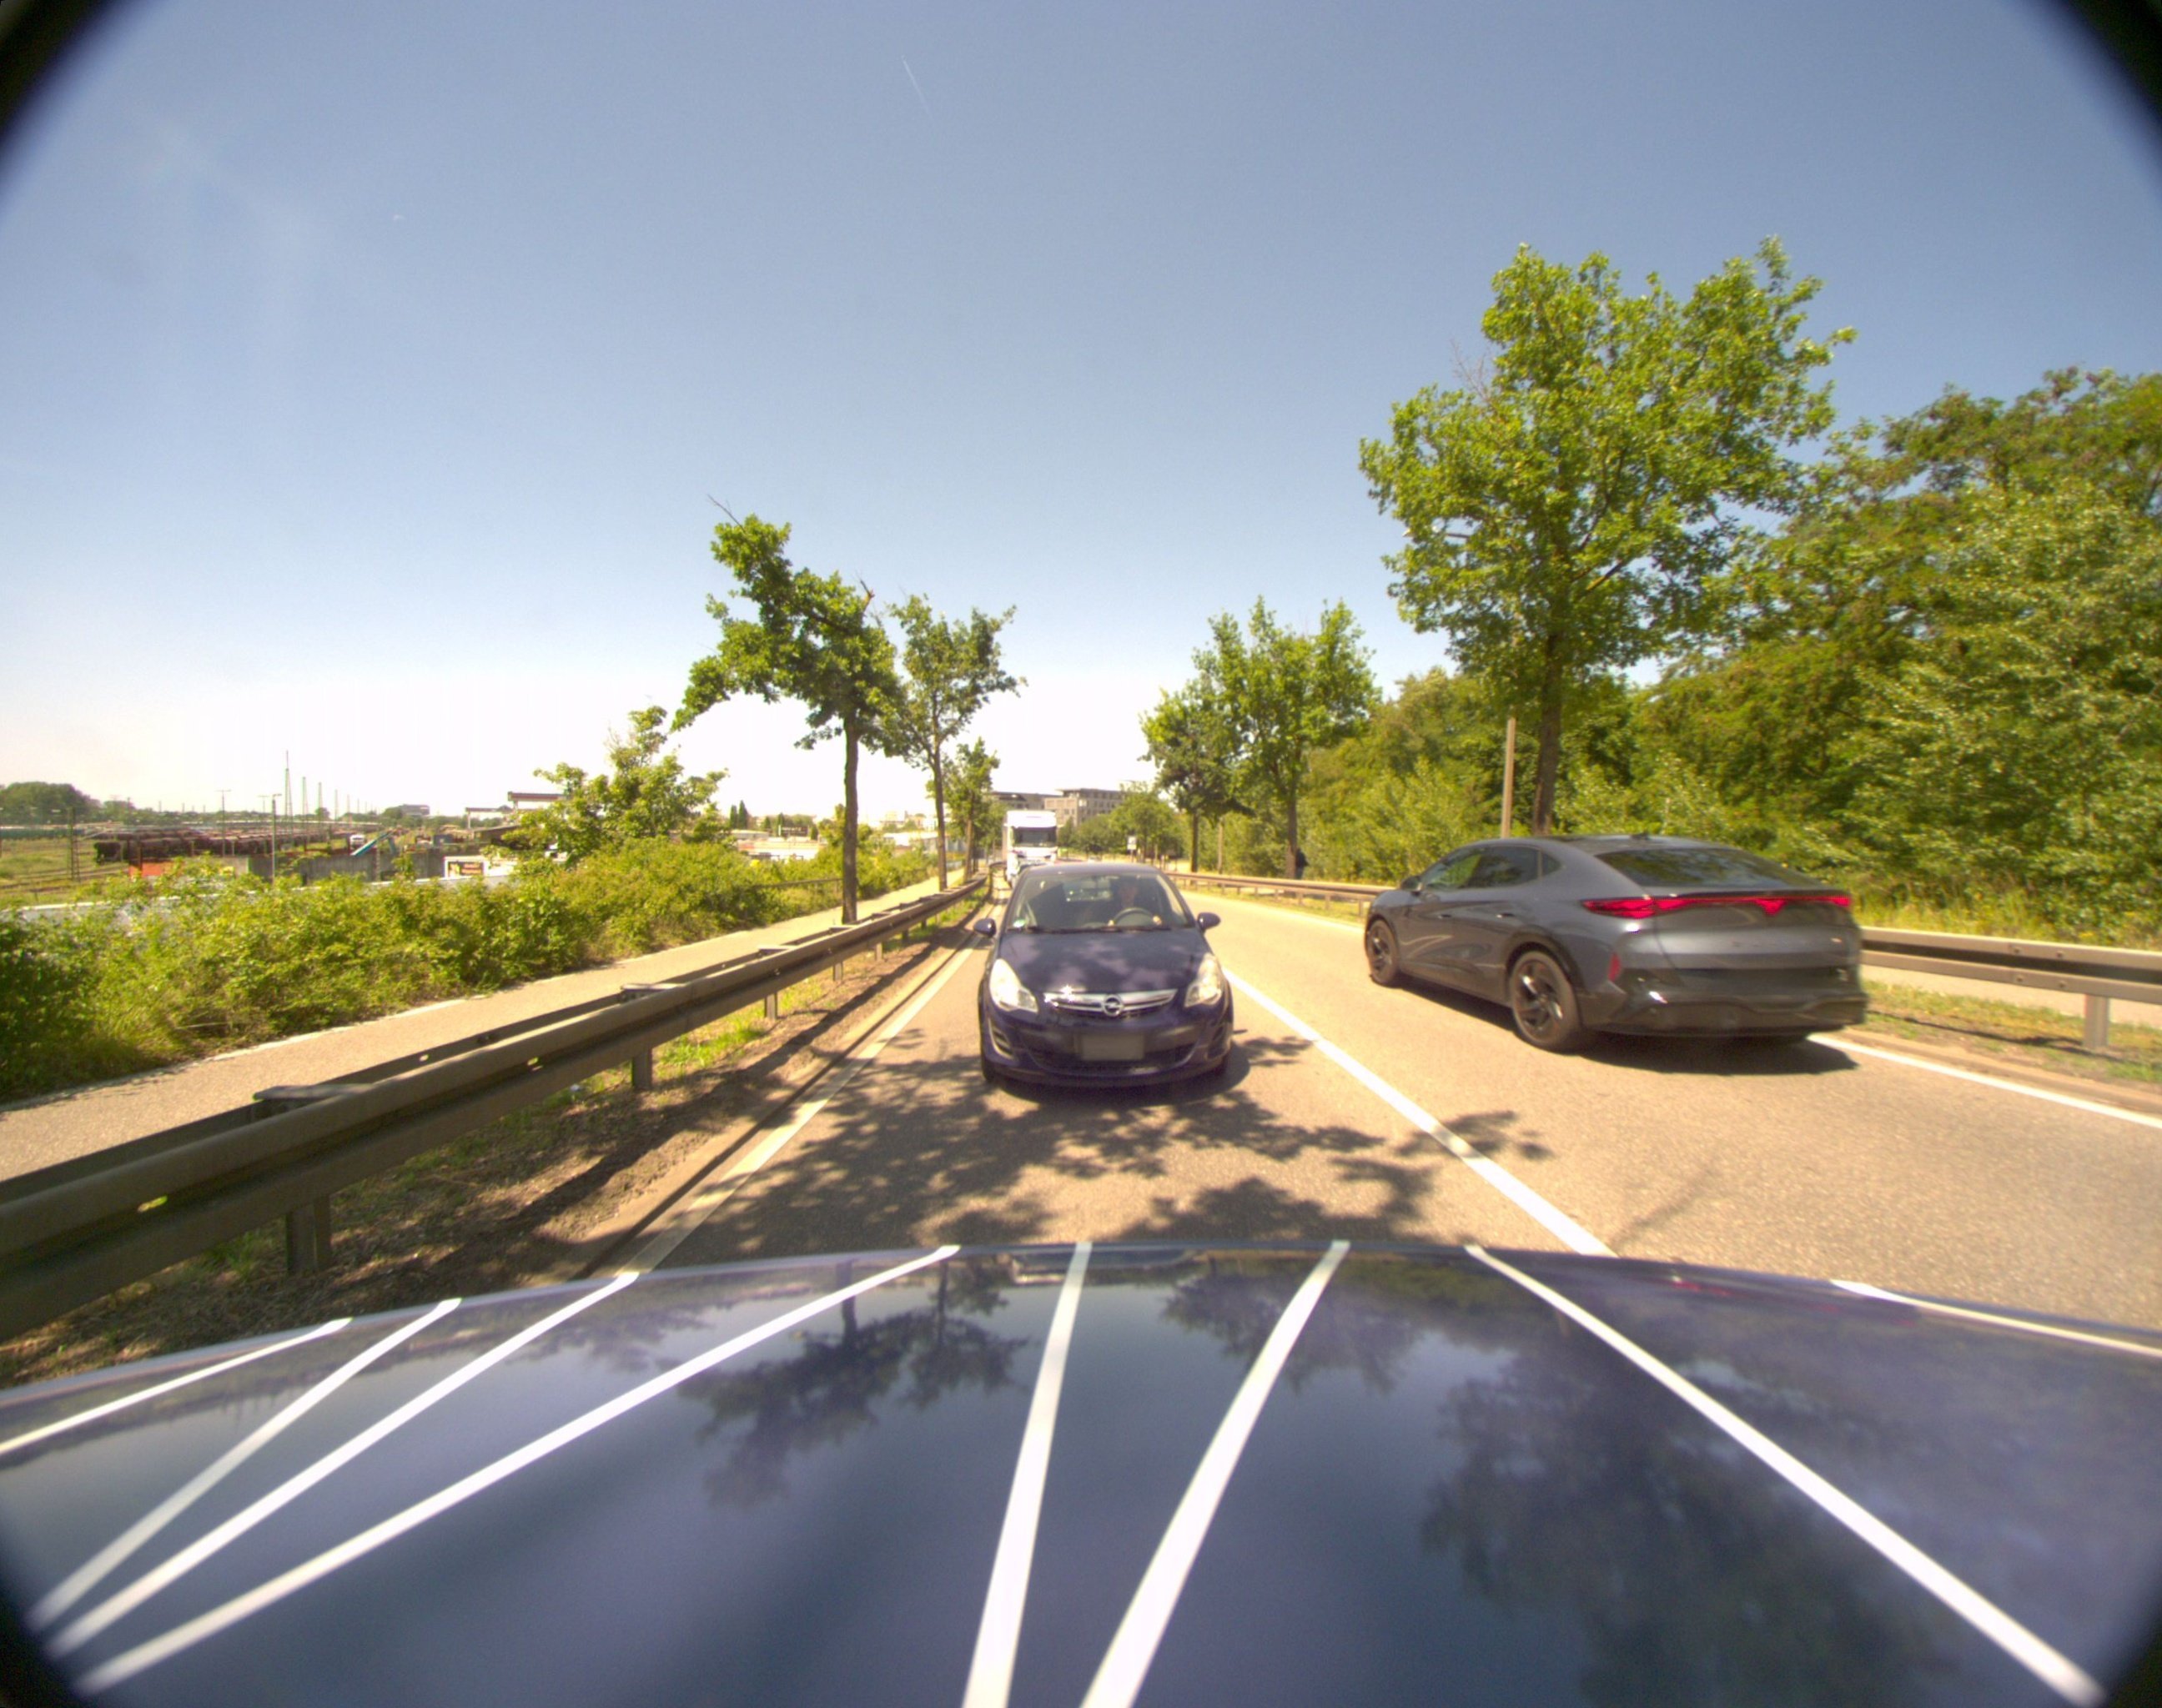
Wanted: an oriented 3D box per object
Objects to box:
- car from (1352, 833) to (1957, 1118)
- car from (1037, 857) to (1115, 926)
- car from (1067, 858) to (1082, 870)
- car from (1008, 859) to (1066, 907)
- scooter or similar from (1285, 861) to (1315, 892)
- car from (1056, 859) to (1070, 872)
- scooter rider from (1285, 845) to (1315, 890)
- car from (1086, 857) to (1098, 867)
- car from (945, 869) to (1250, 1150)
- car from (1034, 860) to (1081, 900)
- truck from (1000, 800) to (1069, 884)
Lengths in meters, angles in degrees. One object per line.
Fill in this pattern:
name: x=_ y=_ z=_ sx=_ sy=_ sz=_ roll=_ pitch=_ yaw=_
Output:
car: x=4.136 y=0.717 z=6.623 sx=1.874 sy=1.594 sz=4.392 roll=-2 pitch=0 yaw=-1
car: x=-0.179 y=0.889 z=19.660 sx=1.780 sy=1.498 sz=3.895 roll=-2 pitch=1 yaw=-2
car: x=-1.193 y=1.802 z=141.081 sx=1.778 sy=2.002 sz=4.003 roll=-2 pitch=1 yaw=11
car: x=-1.479 y=0.936 z=25.953 sx=1.780 sy=1.398 sz=3.999 roll=-2 pitch=1 yaw=-3
scooter or similar: x=8.188 y=0.843 z=28.461 sx=0.779 sy=1.085 sz=1.095 roll=-2 pitch=1 yaw=1
car: x=-2.979 y=1.853 z=126.362 sx=1.779 sy=2.002 sz=4.001 roll=-2 pitch=1 yaw=6
scooter rider: x=8.183 y=0.489 z=28.465 sx=0.779 sy=1.648 sz=1.120 roll=-2 pitch=1 yaw=1
car: x=2.263 y=1.659 z=154.613 sx=1.778 sy=2.002 sz=4.003 roll=-2 pitch=1 yaw=11
car: x=0.021 y=0.934 z=6.304 sx=1.720 sy=1.455 sz=3.836 roll=-2 pitch=1 yaw=-3
car: x=-1.087 y=1.088 z=33.658 sx=1.781 sy=1.569 sz=3.998 roll=-2 pitch=1 yaw=-5
truck: x=-3.223 y=-0.642 z=46.585 sx=3.072 sy=4.146 sz=16.899 roll=-2 pitch=1 yaw=-7
